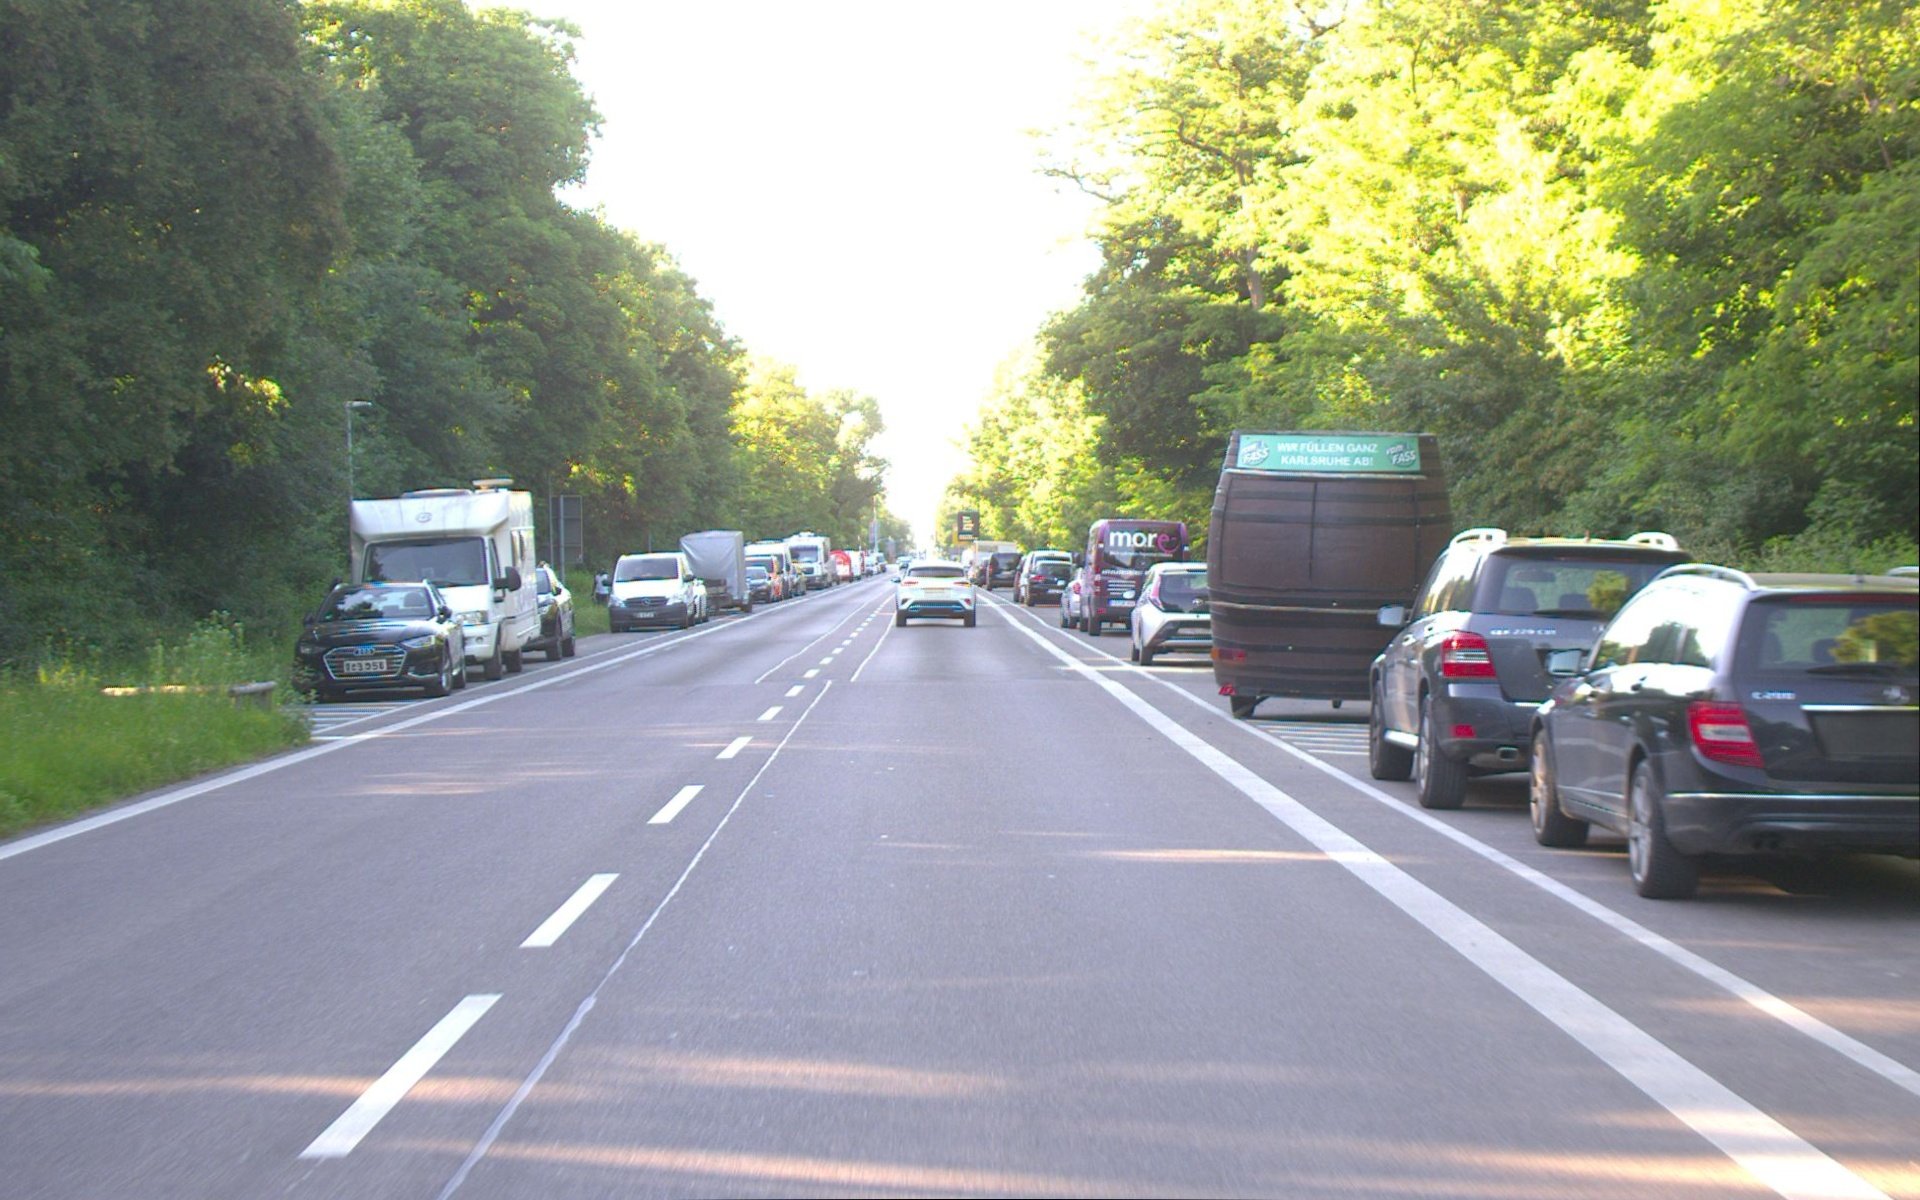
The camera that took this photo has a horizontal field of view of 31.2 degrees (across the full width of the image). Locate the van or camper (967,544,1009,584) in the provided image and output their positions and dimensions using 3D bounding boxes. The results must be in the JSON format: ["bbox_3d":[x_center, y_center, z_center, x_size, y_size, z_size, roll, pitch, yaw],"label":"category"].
[{"bbox_3d":[1.380,-1.796,171.147,1.993,1.925,5.199,0,1,0],"label":"van or camper"}]

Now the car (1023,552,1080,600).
[{"bbox_3d":[2.932,-0.782,111.225,1.690,1.519,4.149,1,1,0],"label":"car"}]

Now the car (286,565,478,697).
[{"bbox_3d":[-7.143,0.337,42.901,1.827,1.471,4.682,-2,1,-3],"label":"car"}]

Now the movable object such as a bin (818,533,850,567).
[{"bbox_3d":[-9.490,-3.795,259.379,2.322,2.493,4.000,-1,1,0],"label":"movable object such as a bin"}]

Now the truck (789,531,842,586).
[{"bbox_3d":[-8.383,-2.407,199.971,2.707,3.083,7.989,-1,1,0],"label":"truck"}]

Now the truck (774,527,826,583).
[{"bbox_3d":[-9.798,-2.752,211.479,2.707,3.336,10.924,-1,1,0],"label":"truck"}]

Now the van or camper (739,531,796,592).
[{"bbox_3d":[-8.516,-1.718,152.836,2.121,2.563,6.542,-1,1,0],"label":"van or camper"}]

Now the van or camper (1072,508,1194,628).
[{"bbox_3d":[3.516,-0.683,70.937,2.035,2.304,6.041,-2,1,-1],"label":"van or camper"}]

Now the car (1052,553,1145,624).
[{"bbox_3d":[3.109,-0.284,77.774,1.747,1.510,4.000,-2,1,-2],"label":"car"}]

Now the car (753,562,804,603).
[{"bbox_3d":[-7.069,-0.705,134.319,1.731,1.473,4.324,-3,1,0],"label":"car"}]

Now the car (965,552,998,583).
[{"bbox_3d":[1.217,-1.842,194.133,1.841,1.656,4.000,-1,1,0],"label":"car"}]

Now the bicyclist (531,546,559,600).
[{"bbox_3d":[-10.558,-0.699,87.520,0.604,1.369,0.799,0,1,0],"label":"bicyclist"}]

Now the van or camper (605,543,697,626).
[{"bbox_3d":[-7.552,-0.395,84.304,1.835,1.905,4.856,-2,1,-1],"label":"van or camper"}]

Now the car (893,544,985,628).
[{"bbox_3d":[-0.477,-0.351,78.985,2.029,1.834,4.029,-1,1,0],"label":"car"}]

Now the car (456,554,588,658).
[{"bbox_3d":[-7.436,0.076,58.648,1.646,1.626,4.273,-3,1,0],"label":"car"}]

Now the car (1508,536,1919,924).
[{"bbox_3d":[3.818,0.502,16.330,1.712,1.563,4.551,1,1,1],"label":"car"}]

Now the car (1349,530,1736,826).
[{"bbox_3d":[3.596,0.405,21.987,1.712,1.659,4.551,1,1,1],"label":"car"}]

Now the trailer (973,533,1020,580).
[{"bbox_3d":[2.283,-2.723,215.965,2.757,2.860,6.589,-1,1,0],"label":"trailer"}]

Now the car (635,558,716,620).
[{"bbox_3d":[-7.511,-0.308,91.048,1.774,1.535,4.525,-3,1,-1],"label":"car"}]

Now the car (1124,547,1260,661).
[{"bbox_3d":[3.328,0.024,49.910,1.712,1.540,4.022,1,1,1],"label":"car"}]

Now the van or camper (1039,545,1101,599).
[{"bbox_3d":[3.745,-0.980,117.744,1.951,1.809,4.381,0,1,0],"label":"van or camper"}]

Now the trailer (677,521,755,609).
[{"bbox_3d":[-7.576,-1.095,107.229,1.993,2.588,4.416,-3,1,0],"label":"trailer"}]

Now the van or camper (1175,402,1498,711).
[{"bbox_3d":[3.932,-0.461,34.643,2.442,2.790,6.553,-1,1,13],"label":"van or camper"}]

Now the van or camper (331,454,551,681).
[{"bbox_3d":[-7.456,-0.486,50.148,2.314,2.960,7.112,-3,1,-3],"label":"van or camper"}]
